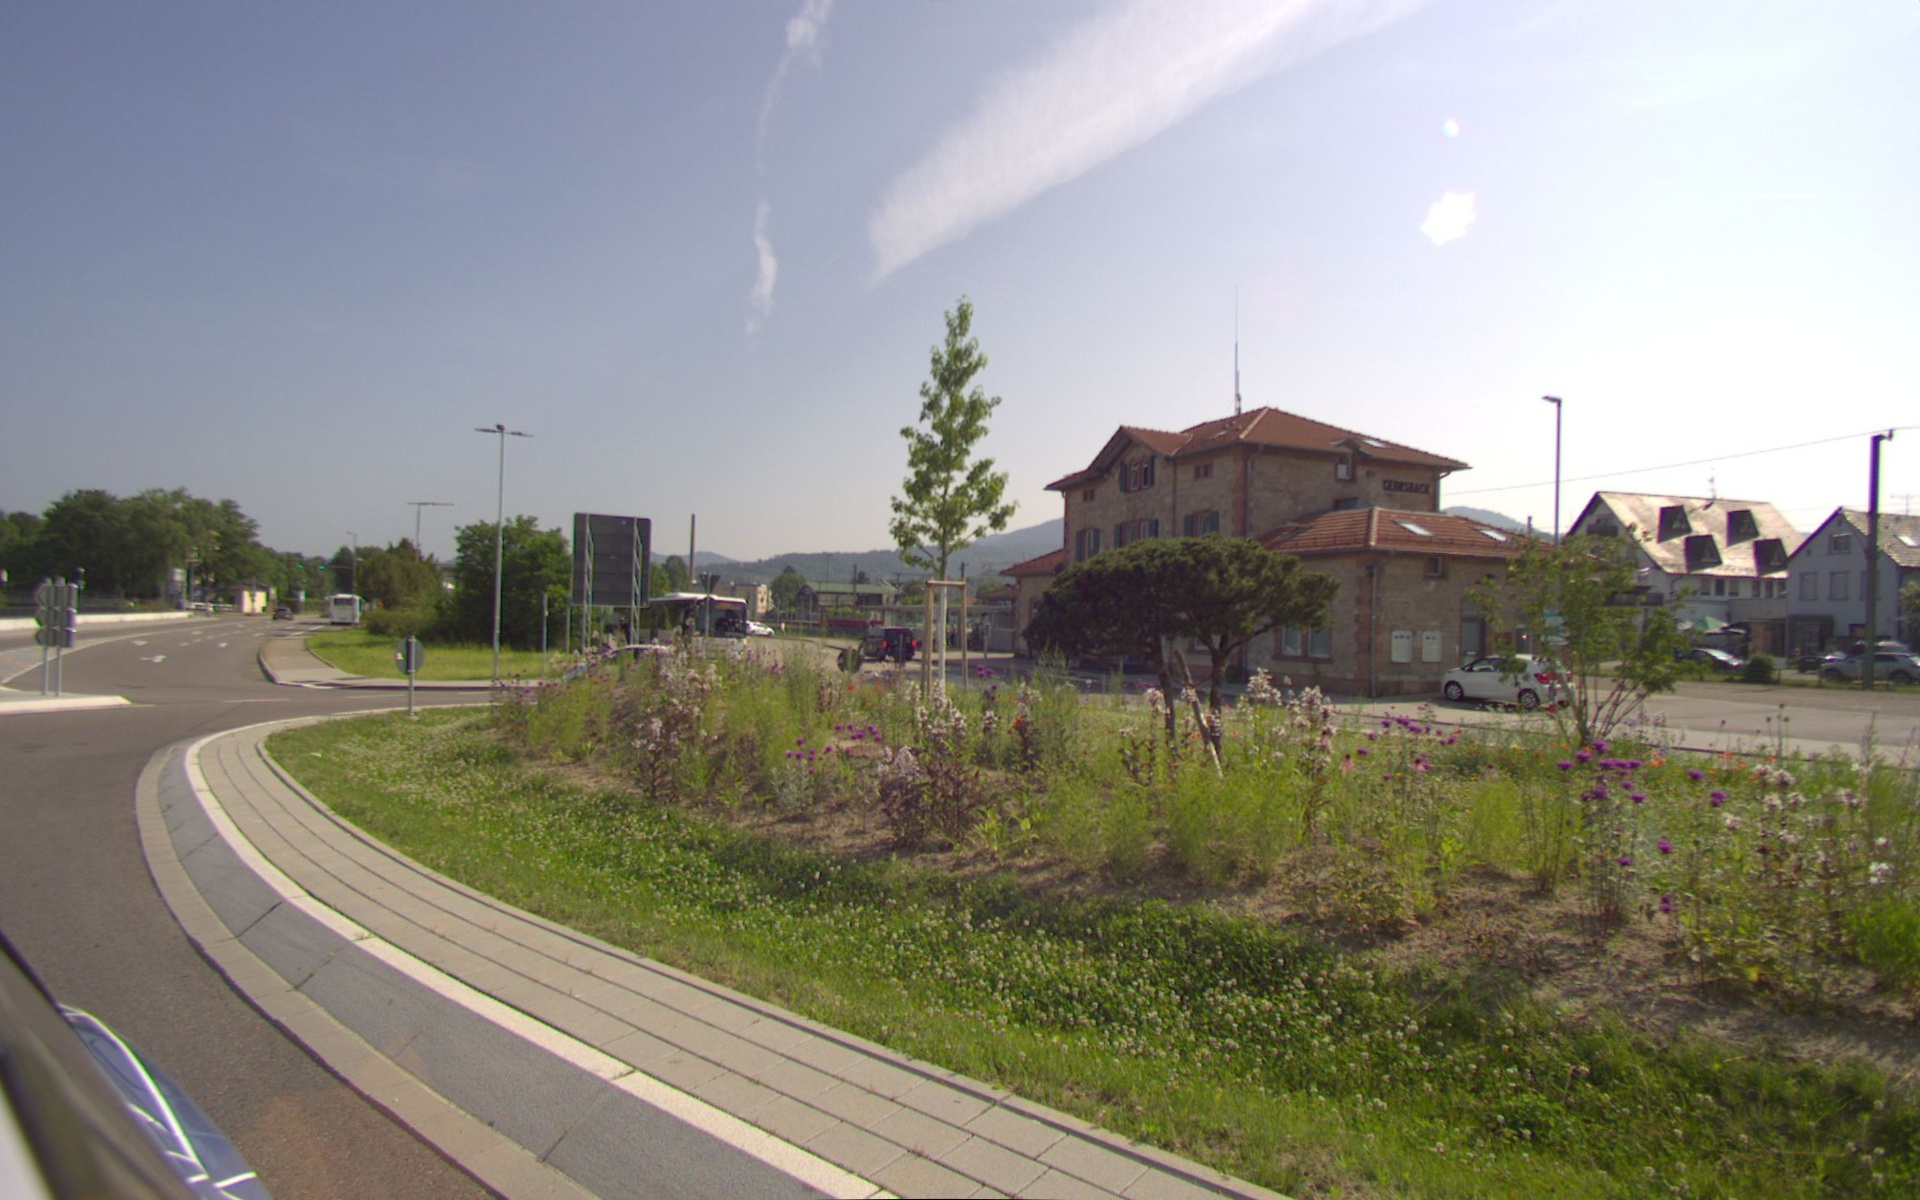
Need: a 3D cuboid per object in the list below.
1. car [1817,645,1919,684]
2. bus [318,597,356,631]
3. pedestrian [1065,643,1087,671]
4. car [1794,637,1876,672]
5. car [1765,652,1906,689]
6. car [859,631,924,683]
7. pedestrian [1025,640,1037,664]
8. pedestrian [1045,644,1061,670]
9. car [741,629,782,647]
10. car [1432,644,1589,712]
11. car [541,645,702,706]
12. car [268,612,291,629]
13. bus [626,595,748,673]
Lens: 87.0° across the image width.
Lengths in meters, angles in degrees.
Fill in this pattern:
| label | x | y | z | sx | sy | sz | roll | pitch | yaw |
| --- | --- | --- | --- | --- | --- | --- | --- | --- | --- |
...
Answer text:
| label | x | y | z | sx | sy | sz | roll | pitch | yaw |
| --- | --- | --- | --- | --- | --- | --- | --- | --- | --- |
| car | 42.753 | 2.977 | 47.070 | 1.752 | 1.630 | 4.013 | -1 | -1 | -28 |
| bus | -61.360 | 1.366 | 99.793 | 2.820 | 3.216 | 9.146 | 0 | -1 | -30 |
| pedestrian | 5.084 | 2.497 | 44.423 | 0.777 | 1.171 | 0.508 | -1 | 0 | -22 |
| car | 48.895 | 3.023 | 56.567 | 3.931 | 1.740 | 1.844 | -1 | 0 | -22 |
| car | 32.286 | 2.577 | 37.402 | 1.406 | 1.187 | 3.746 | -1 | -1 | -40 |
| car | -3.143 | 2.467 | 45.246 | 1.945 | 1.979 | 5.172 | -1 | 0 | -15 |
| pedestrian | 3.585 | 2.638 | 51.226 | 0.365 | 1.171 | 0.508 | -1 | 0 | -23 |
| pedestrian | 4.256 | 2.615 | 46.354 | 0.503 | 1.171 | 0.508 | -1 | 0 | -22 |
| car | -21.265 | 4.053 | 108.511 | 3.939 | 1.740 | 1.840 | -1 | 0 | -42 |
| car | 15.778 | 2.174 | 29.180 | 1.651 | 1.580 | 3.663 | -1 | 1 | -28 |
| car | -9.155 | 2.026 | 27.649 | 3.936 | 1.408 | 1.786 | -1 | 0 | -9 |
| car | -75.812 | 2.254 | 112.689 | 1.856 | 1.807 | 4.009 | -1 | 0 | -37 |
| bus | -13.438 | 1.508 | 49.002 | 2.545 | 3.354 | 10.618 | -1 | 0 | -33 |
